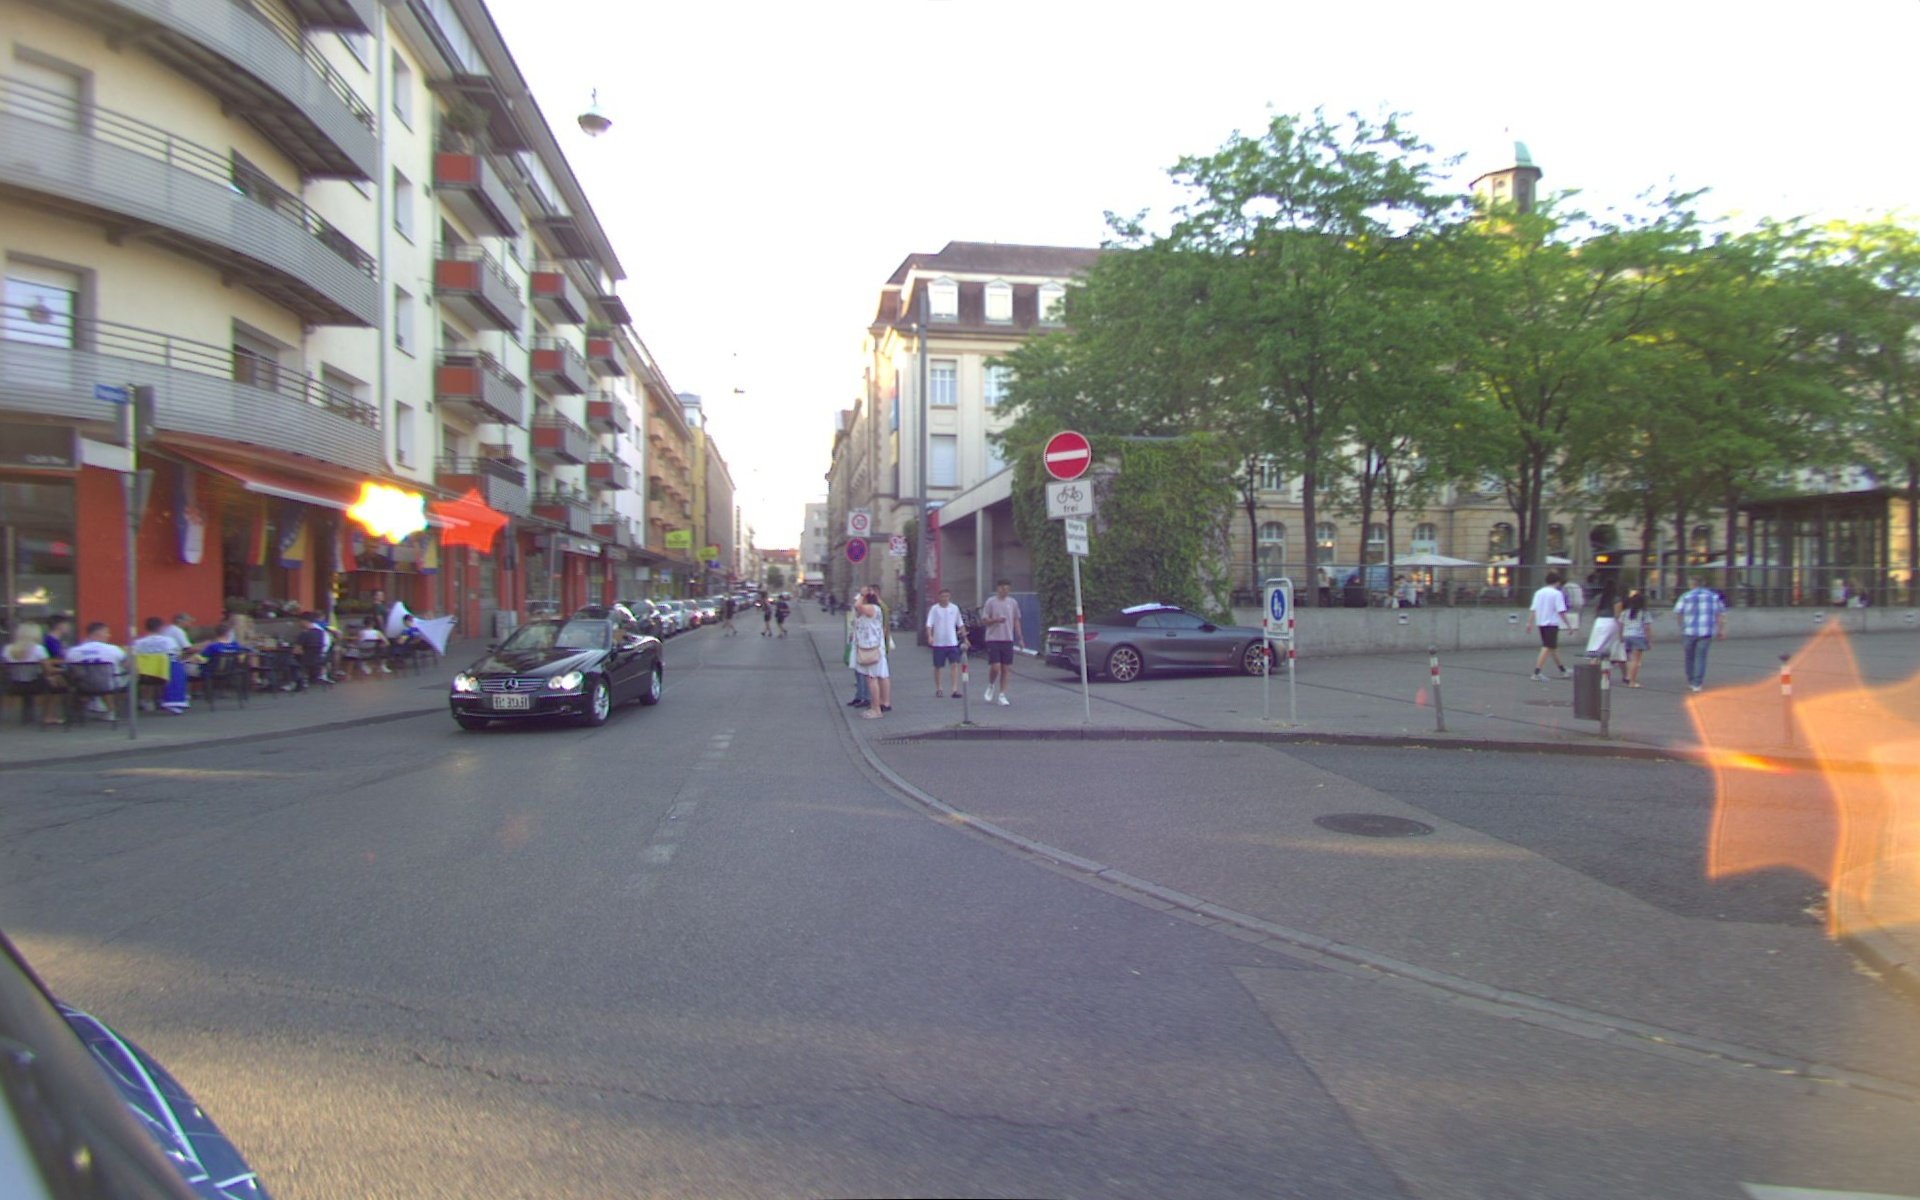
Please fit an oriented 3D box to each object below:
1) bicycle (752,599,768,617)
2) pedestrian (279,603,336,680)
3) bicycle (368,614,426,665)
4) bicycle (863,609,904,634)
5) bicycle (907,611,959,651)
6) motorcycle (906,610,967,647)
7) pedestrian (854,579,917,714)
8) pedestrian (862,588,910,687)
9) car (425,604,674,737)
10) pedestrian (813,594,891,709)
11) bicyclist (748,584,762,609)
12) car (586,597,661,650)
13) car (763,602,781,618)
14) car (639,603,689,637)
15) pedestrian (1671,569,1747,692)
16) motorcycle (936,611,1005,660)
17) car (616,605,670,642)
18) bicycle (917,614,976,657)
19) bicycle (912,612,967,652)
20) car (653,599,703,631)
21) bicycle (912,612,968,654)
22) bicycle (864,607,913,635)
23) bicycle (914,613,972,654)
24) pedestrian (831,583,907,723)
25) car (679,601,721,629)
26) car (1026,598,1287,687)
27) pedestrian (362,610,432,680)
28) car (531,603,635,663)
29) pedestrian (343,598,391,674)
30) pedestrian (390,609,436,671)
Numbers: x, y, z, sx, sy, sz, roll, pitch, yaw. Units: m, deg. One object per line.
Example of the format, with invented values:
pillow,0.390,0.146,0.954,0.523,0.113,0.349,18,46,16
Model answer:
bicycle,-17.083,0.654,86.498,1.023,1.533,2.826,-1,0,-6
pedestrian,-12.524,0.792,19.441,0.703,1.432,0.603,-2,0,-10
bicycle,-13.144,0.897,23.670,0.541,1.095,2.010,-2,0,-10
bicycle,-3.460,0.962,45.900,1.818,1.091,0.354,-2,0,-3
bicycle,-0.784,0.893,29.556,1.476,1.096,0.436,-2,0,-2
motorcycle,-0.736,0.891,31.610,1.814,1.077,0.530,-2,0,20
pedestrian,-1.079,0.655,14.744,0.706,1.891,0.850,-2,0,8
pedestrian,-1.402,0.694,19.132,0.799,1.807,0.738,-2,0,-7
car,-5.324,0.811,13.832,1.784,1.418,4.621,1,1,-4
pedestrian,-1.640,0.765,15.368,0.880,1.681,0.707,-2,1,32
bicyclist,-17.271,-0.303,85.324,1.030,2.029,1.184,-1,0,-8
car,-11.855,0.793,35.879,1.855,1.712,4.146,-2,0,-9
car,-24.630,1.286,132.633,1.969,2.029,4.005,-1,0,-5
car,-13.835,0.900,47.456,1.740,1.488,3.955,-2,0,-9
pedestrian,11.072,0.437,14.954,0.676,1.759,0.717,-2,0,-39
motorcycle,0.275,0.876,25.631,1.800,1.135,0.538,-2,0,-41
car,-13.143,0.952,42.110,1.724,1.414,3.977,-2,0,-12
bicycle,-0.356,0.955,27.283,1.473,1.096,0.549,-2,0,-13
bicycle,-0.580,0.903,28.757,1.473,1.096,0.412,-2,0,-13
car,-14.389,0.748,51.853,1.838,1.488,4.402,-2,0,-8
bicycle,-0.567,0.906,28.125,1.473,1.120,0.412,-2,0,-13
bicycle,-3.187,0.927,45.110,2.150,1.164,0.446,-2,0,-3
bicycle,-0.466,0.910,27.738,1.473,1.077,0.443,-2,0,-13
pedestrian,-1.249,0.701,13.807,0.702,1.816,0.885,-2,0,-28
car,-15.192,0.840,59.269,1.869,1.488,4.308,-2,0,-8
car,3.710,0.747,19.401,4.374,1.441,2.113,-2,0,-16
pedestrian,-11.085,0.866,19.945,0.869,1.315,0.850,1,0,10
car,-10.981,0.903,29.800,1.850,1.563,4.638,-2,0,-8
pedestrian,-12.673,0.754,21.630,0.838,1.547,0.716,-2,0,-32
pedestrian,-11.940,0.864,22.080,0.838,1.287,0.717,0,2,-32
